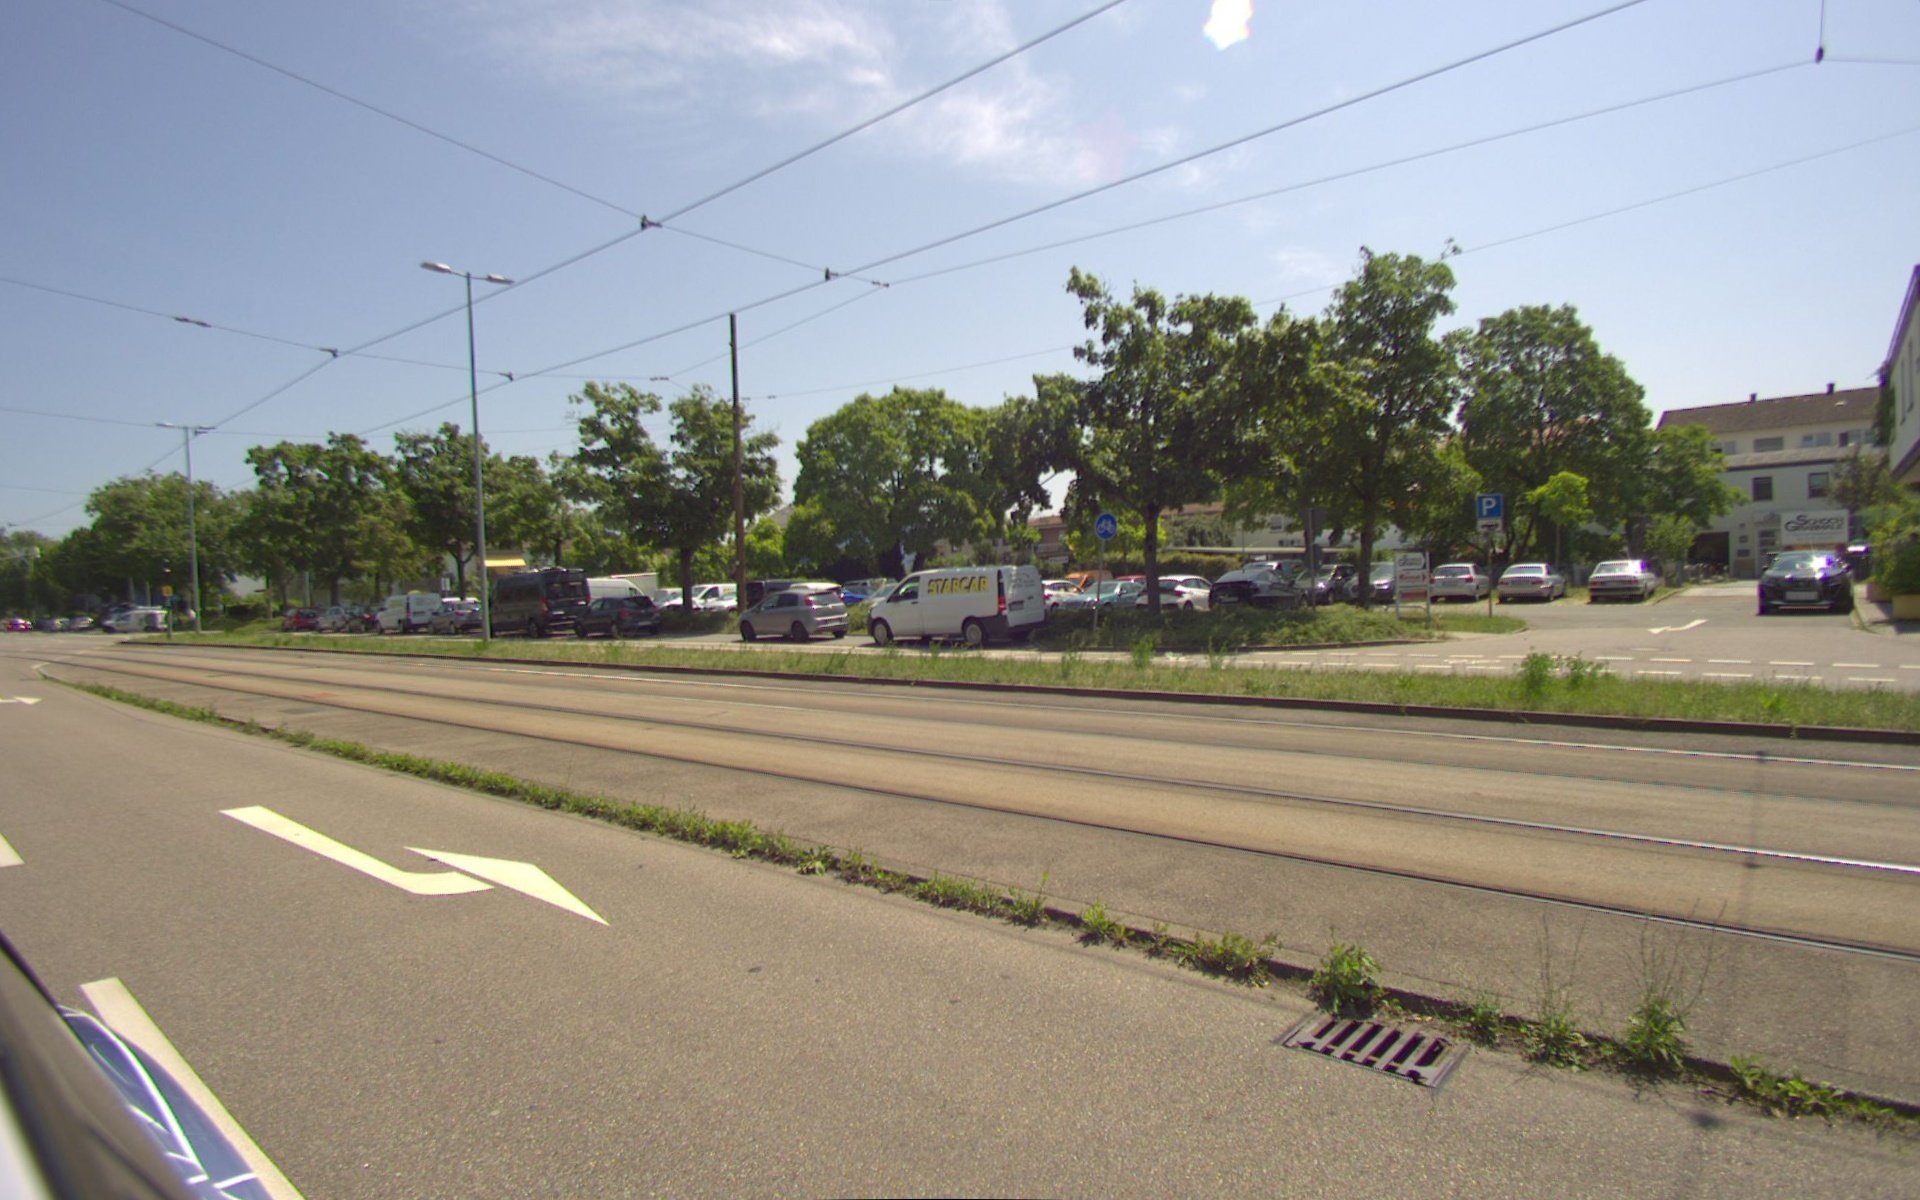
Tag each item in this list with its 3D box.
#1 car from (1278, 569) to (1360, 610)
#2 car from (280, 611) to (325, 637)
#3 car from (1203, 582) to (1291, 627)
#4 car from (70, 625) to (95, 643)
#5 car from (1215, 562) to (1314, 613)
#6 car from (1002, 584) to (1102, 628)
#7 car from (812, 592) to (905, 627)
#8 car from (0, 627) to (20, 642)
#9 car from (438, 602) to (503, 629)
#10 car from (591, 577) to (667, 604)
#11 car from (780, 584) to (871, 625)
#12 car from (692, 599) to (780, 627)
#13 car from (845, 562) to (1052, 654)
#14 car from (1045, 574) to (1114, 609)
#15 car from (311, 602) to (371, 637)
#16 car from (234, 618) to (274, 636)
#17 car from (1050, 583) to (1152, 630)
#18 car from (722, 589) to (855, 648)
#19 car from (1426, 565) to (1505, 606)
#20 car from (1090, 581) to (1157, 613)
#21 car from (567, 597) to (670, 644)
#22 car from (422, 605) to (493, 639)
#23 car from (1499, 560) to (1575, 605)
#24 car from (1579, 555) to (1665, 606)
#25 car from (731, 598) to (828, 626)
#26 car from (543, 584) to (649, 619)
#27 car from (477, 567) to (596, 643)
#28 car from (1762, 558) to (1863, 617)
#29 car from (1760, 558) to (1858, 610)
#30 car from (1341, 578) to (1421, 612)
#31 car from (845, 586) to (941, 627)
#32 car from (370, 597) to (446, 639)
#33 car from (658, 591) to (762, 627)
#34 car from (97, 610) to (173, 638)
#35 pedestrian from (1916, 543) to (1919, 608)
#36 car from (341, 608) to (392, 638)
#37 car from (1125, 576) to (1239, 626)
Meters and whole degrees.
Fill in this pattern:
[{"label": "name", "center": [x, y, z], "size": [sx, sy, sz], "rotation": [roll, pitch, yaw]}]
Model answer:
[{"label": "car", "center": [15.143, -0.434, 42.638], "size": [1.804, 1.669, 3.943], "rotation": [-1, 0, 44]}, {"label": "car", "center": [-39.765, 1.431, 61.168], "size": [3.424, 1.491, 1.560], "rotation": [-1, 0, 44]}, {"label": "car", "center": [8.932, 0.124, 31.333], "size": [1.639, 1.241, 3.385], "rotation": [-2, 1, 34]}, {"label": "car", "center": [-97.349, 3.722, 112.281], "size": [3.984, 1.867, 1.681], "rotation": [-1, 0, 44]}, {"label": "car", "center": [13.380, -0.541, 44.306], "size": [2.225, 2.085, 5.054], "rotation": [-1, 0, 41]}, {"label": "car", "center": [3.391, 0.182, 36.711], "size": [1.856, 1.501, 4.098], "rotation": [-1, 0, 34]}, {"label": "car", "center": [-4.351, 0.378, 43.801], "size": [1.795, 1.417, 3.950], "rotation": [-2, -1, 37]}, {"label": "car", "center": [-106.039, 3.840, 112.683], "size": [3.424, 1.491, 1.796], "rotation": [-1, 0, 44]}, {"label": "car", "center": [-35.662, 1.097, 73.826], "size": [1.712, 1.888, 3.952], "rotation": [-1, 0, 35]}, {"label": "car", "center": [-26.760, -0.776, 81.982], "size": [2.145, 2.078, 5.673], "rotation": [-1, 0, 39]}, {"label": "car", "center": [-6.059, 0.190, 45.895], "size": [1.795, 1.730, 3.950], "rotation": [-2, 1, 37]}, {"label": "car", "center": [-10.727, 0.616, 48.697], "size": [1.732, 1.152, 3.950], "rotation": [-2, 1, 37]}, {"label": "car", "center": [-0.398, 0.191, 25.711], "size": [5.343, 2.025, 1.856], "rotation": [-1, 4, 43]}, {"label": "car", "center": [6.087, -0.448, 51.183], "size": [1.689, 1.665, 4.081], "rotation": [-2, 0, 35]}, {"label": "car", "center": [-34.844, 1.084, 56.940], "size": [4.495, 1.907, 1.614], "rotation": [-1, 0, 42]}, {"label": "car", "center": [-48.485, 1.817, 69.493], "size": [3.424, 1.167, 1.560], "rotation": [-1, 0, 44]}, {"label": "car", "center": [4.902, 0.198, 34.698], "size": [1.908, 1.501, 3.994], "rotation": [-1, 0, 34]}, {"label": "car", "center": [-5.142, 0.541, 30.015], "size": [4.125, 1.513, 1.632], "rotation": [-1, 4, 42]}, {"label": "car", "center": [19.734, -0.549, 39.453], "size": [1.661, 1.531, 3.943], "rotation": [-1, 0, 44]}, {"label": "car", "center": [8.122, -0.157, 50.043], "size": [1.713, 1.505, 3.952], "rotation": [-1, 0, 36]}, {"label": "car", "center": [-12.352, 0.715, 36.549], "size": [3.751, 1.589, 1.950], "rotation": [-1, 0, 42]}, {"label": "car", "center": [-22.977, 0.965, 46.211], "size": [3.608, 1.475, 1.744], "rotation": [-1, 0, 43]}, {"label": "car", "center": [21.319, -0.627, 37.317], "size": [1.520, 1.591, 3.943], "rotation": [-1, 0, 44]}, {"label": "car", "center": [23.113, -0.650, 35.286], "size": [1.804, 1.669, 3.943], "rotation": [-1, 0, 44]}, {"label": "car", "center": [-8.343, 0.546, 47.068], "size": [2.030, 1.152, 4.209], "rotation": [-2, 1, 37]}, {"label": "car", "center": [-20.835, 0.063, 58.123], "size": [2.029, 1.970, 5.362], "rotation": [-1, 0, 43]}, {"label": "car", "center": [-17.056, 0.191, 40.588], "size": [5.667, 2.859, 2.214], "rotation": [-1, 0, 42]}, {"label": "car", "center": [21.247, -0.333, 25.176], "size": [1.682, 1.306, 3.944], "rotation": [-2, 0, 43]}, {"label": "car", "center": [25.286, -0.446, 30.098], "size": [2.000, 1.432, 4.086], "rotation": [-1, -1, 43]}, {"label": "car", "center": [16.845, -0.191, 40.466], "size": [1.765, 1.294, 3.675], "rotation": [-1, 0, 43]}, {"label": "car", "center": [-2.696, 0.250, 41.492], "size": [1.862, 1.499, 3.954], "rotation": [-2, 1, 34]}, {"label": "car", "center": [-27.300, 0.847, 49.973], "size": [4.817, 1.963, 1.899], "rotation": [-1, 0, 43]}, {"label": "car", "center": [-12.534, 0.438, 51.049], "size": [1.998, 1.588, 4.866], "rotation": [-1, 1, 39]}, {"label": "car", "center": [-63.194, 1.847, 77.564], "size": [4.142, 2.005, 1.827], "rotation": [-1, 0, -16]}, {"label": "pedestrian", "center": [27.109, -0.683, 28.328], "size": [0.471, 1.812, 0.482], "rotation": [-1, 0, 41]}, {"label": "car", "center": [-31.452, 1.191, 53.626], "size": [3.262, 1.489, 1.410], "rotation": [-1, 0, 42]}, {"label": "car", "center": [7.383, 0.015, 33.477], "size": [1.983, 1.501, 4.119], "rotation": [-2, 1, 40]}]
